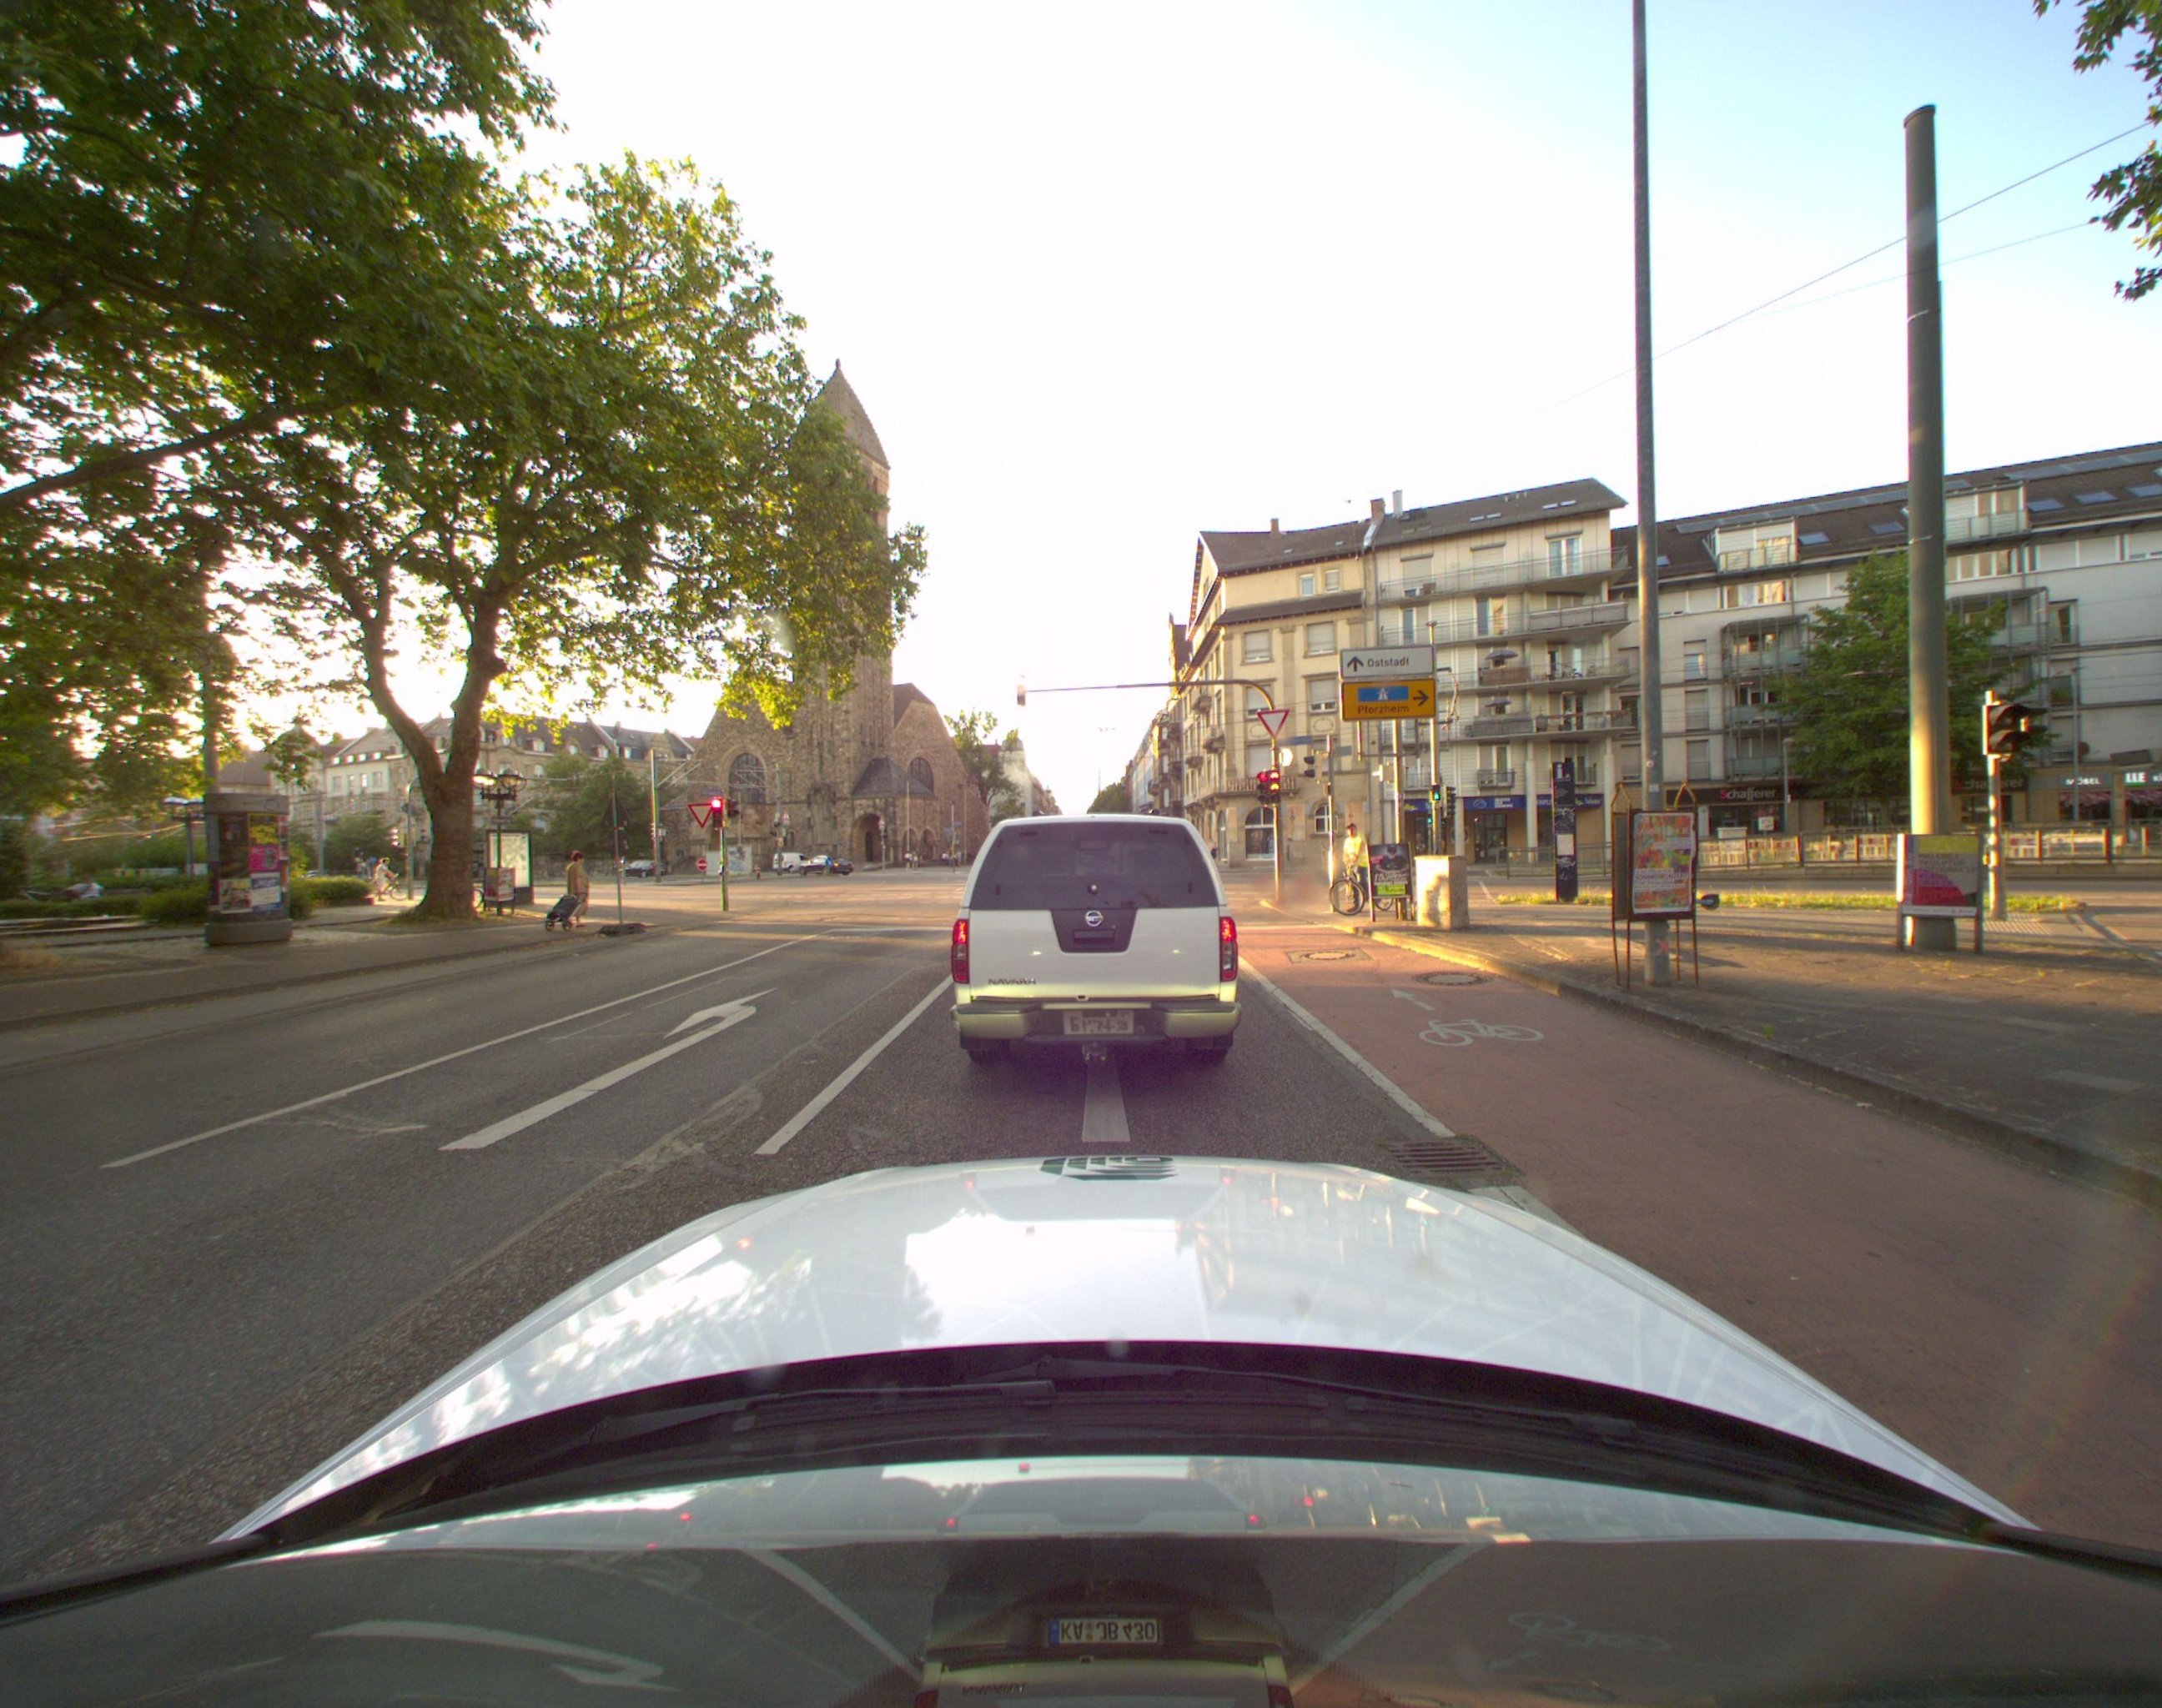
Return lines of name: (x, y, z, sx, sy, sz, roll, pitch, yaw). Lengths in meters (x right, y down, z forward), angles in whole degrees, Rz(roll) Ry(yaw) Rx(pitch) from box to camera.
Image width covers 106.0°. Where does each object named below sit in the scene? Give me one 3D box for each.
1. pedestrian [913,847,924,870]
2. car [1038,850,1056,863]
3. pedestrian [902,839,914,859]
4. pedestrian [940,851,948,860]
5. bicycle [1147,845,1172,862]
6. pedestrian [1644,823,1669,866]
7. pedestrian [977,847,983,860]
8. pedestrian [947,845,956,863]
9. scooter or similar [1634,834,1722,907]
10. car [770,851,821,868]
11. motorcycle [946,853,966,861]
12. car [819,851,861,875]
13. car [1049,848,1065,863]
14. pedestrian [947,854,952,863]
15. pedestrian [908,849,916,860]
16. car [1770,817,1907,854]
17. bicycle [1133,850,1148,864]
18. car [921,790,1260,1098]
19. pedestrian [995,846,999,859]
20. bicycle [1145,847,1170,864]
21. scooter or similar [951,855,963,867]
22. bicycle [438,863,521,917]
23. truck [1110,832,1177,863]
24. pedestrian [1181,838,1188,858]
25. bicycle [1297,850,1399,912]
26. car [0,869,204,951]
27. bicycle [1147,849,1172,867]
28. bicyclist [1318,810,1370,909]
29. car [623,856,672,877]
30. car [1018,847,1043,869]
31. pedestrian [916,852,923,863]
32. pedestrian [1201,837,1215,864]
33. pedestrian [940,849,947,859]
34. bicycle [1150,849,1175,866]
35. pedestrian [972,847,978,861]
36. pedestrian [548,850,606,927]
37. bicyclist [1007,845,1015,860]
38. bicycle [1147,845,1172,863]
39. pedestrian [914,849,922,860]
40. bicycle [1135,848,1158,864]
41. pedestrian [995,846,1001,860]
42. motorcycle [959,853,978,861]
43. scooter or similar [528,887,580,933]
pedestrian: (-13.795, 0.374, 69.088, 0.809, 1.900, 0.666, -1, 0, -1)
car: (-4.238, 0.268, 102.513, 1.987, 1.558, 4.768, 0, 0, 0)
pedestrian: (-14.662, -0.409, 69.181, 0.809, 1.669, 0.859, -1, 0, -1)
pedestrian: (-14.925, 0.144, 88.965, 0.547, 0.960, 0.713, -1, 0, 22)
bicycle: (6.217, -0.052, 64.596, 1.812, 1.238, 0.412, -5, 0, -1)
pedestrian: (29.936, -0.506, 42.342, 0.860, 2.209, 0.825, -1, 0, 21)
pedestrian: (-12.463, -0.061, 100.286, 0.640, 1.695, 0.562, -1, 0, 1)
pedestrian: (-12.441, -0.029, 78.175, 0.628, 1.698, 0.606, -1, 1, 18)
scooter or similar: (10.621, 0.284, 14.504, 1.219, 1.249, 0.519, -1, 0, 41)
car: (-26.352, 0.520, 75.331, 1.698, 1.517, 4.482, -1, 0, 26)
motorcycle: (-14.446, 0.344, 94.226, 2.239, 0.987, 0.707, -1, 0, -4)
car: (-17.333, 0.677, 58.491, 2.006, 1.618, 3.961, 3, -3, -30)
car: (-3.432, 0.159, 116.233, 1.987, 2.013, 4.951, -2, 1, 0)
pedestrian: (-13.056, 0.455, 80.894, 0.522, 0.960, 0.477, -1, 0, -14)
pedestrian: (-15.671, 0.051, 75.490, 0.517, 0.960, 0.482, -1, 0, 21)
car: (32.673, -0.761, 35.270, 3.952, 1.486, 1.859, -1, 0, 21)
bicycle: (4.640, 0.209, 63.602, 1.073, 1.024, 0.317, -5, 0, -1)
car: (0.117, 0.531, 6.801, 1.986, 1.809, 4.002, 0, 0, 2)
pedestrian: (-11.052, -0.239, 107.101, 0.559, 1.695, 0.643, -1, 0, -6)
bicycle: (6.152, 0.126, 65.734, 1.849, 1.238, 0.530, -5, 0, -1)
scooter or similar: (-11.828, 0.643, 77.623, 0.628, 1.103, 1.083, 0, 2, 17)
bicycle: (-15.827, 0.919, 21.478, 0.522, 1.326, 1.998, -1, 0, 7)
truck: (5.319, -0.569, 68.802, 5.704, 2.565, 2.260, -1, 0, -42)
pedestrian: (8.819, -0.512, 69.527, 0.525, 1.654, 0.547, -1, 0, 1)
bicycle: (5.099, 0.491, 15.499, 2.079, 1.109, 0.622, -1, 0, -31)
car: (-26.797, 1.461, 21.392, 1.975, 1.781, 4.669, -2, 2, 27)
bicycle: (6.121, 0.324, 63.871, 1.812, 1.238, 0.477, -5, 0, -1)
bicyclist: (4.989, 0.096, 15.444, 0.701, 1.824, 0.622, 0, 0, -31)
car: (-35.690, 1.030, 67.009, 3.948, 1.684, 2.013, -1, 0, 36)
car: (-4.581, 0.354, 74.497, 1.987, 1.784, 4.798, -2, 2, 0)
pedestrian: (-15.144, 0.320, 76.373, 0.473, 0.960, 0.526, -1, 0, 31)
pedestrian: (8.411, -0.208, 53.837, 0.779, 1.779, 0.547, -1, 0, 27)
pedestrian: (-13.614, 0.030, 80.880, 0.517, 0.960, 0.482, -1, 0, 19)
bicycle: (6.223, 0.252, 62.216, 1.812, 1.149, 0.636, -5, 0, -1)
pedestrian: (-12.766, -0.018, 98.099, 0.642, 1.695, 0.560, -1, 0, -7)
pedestrian: (-11.015, 0.739, 17.821, 0.800, 1.628, 0.773, -1, 0, -3)
bicyclist: (-8.168, -0.175, 94.793, 0.602, 1.644, 0.954, 0, 0, -28)
bicycle: (6.110, -0.022, 63.161, 1.812, 1.238, 0.488, -5, 0, -1)
pedestrian: (-15.060, 0.044, 75.200, 0.517, 0.960, 0.482, -1, 0, 21)
bicycle: (5.033, 0.160, 62.709, 1.721, 1.083, 0.317, -5, 0, -1)
pedestrian: (-10.827, -0.158, 106.256, 0.643, 1.855, 0.559, -1, 0, -13)
motorcycle: (-13.352, 0.333, 96.491, 2.146, 0.987, 0.597, -1, 0, 21)
scooter or similar: (-10.940, 1.148, 16.925, 0.591, 0.898, 0.849, -1, 0, -9)
